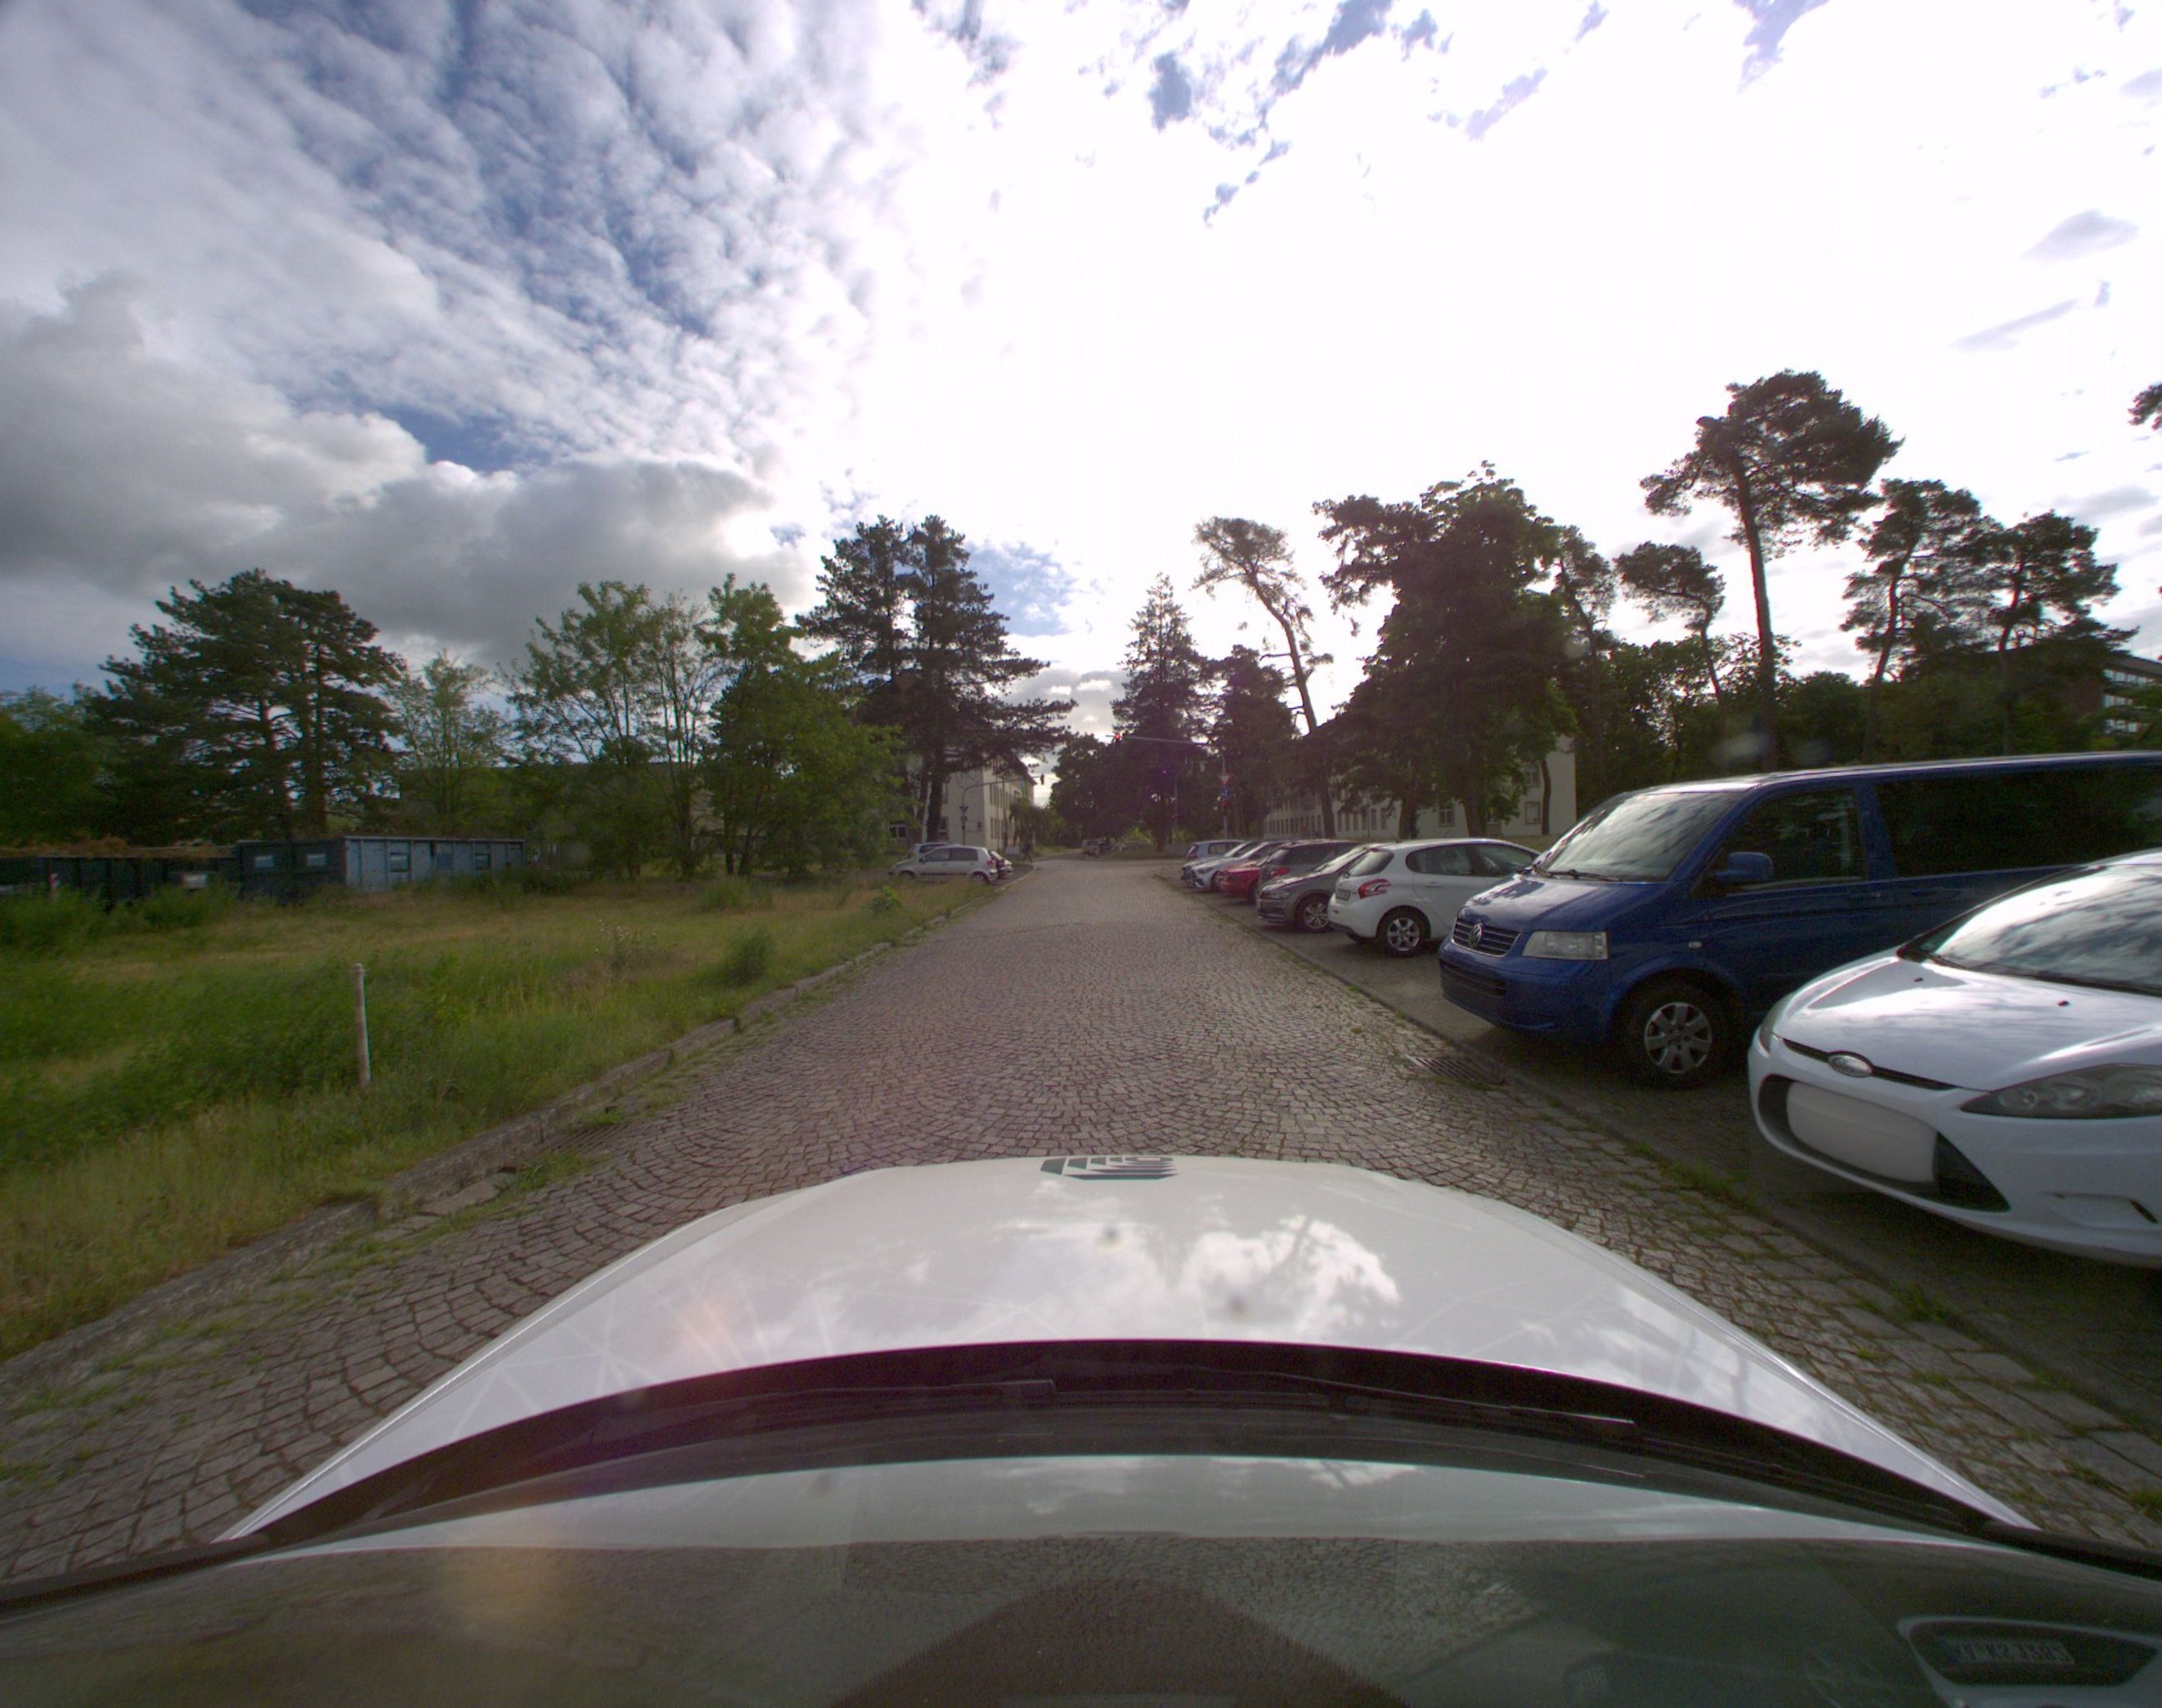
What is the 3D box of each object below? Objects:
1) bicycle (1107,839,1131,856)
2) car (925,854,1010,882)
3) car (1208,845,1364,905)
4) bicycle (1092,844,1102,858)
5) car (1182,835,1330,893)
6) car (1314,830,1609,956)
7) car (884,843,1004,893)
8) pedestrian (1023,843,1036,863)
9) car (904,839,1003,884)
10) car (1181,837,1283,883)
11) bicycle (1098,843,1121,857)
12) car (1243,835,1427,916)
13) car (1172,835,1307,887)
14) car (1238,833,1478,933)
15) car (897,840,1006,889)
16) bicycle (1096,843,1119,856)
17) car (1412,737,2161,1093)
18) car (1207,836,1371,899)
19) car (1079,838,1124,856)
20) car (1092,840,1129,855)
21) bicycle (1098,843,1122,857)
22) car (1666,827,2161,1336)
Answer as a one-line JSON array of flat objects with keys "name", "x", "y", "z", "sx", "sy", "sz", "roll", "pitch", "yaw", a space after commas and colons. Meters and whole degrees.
[{"name": "bicycle", "x": 3.728, "y": -0.604, "z": 79.911, "sx": 2.158, "sy": 1.615, "sz": 0.811, "roll": -1, "pitch": 1, "yaw": -6}, {"name": "car", "x": -5.028, "y": 0.612, "z": 36.474, "sx": 3.666, "sy": 1.093, "sz": 1.643, "roll": -2, "pitch": 1, "yaw": -6}, {"name": "car", "x": 4.918, "y": 0.473, "z": 19.772, "sx": 3.287, "sy": 1.267, "sz": 1.661, "roll": -2, "pitch": 1, "yaw": -6}, {"name": "bicycle", "x": 1.492, "y": -0.300, "z": 74.856, "sx": 0.807, "sy": 1.268, "sz": 1.974, "roll": -1, "pitch": 1, "yaw": 2}, {"name": "car", "x": 5.163, "y": 0.259, "z": 24.250, "sx": 3.981, "sy": 1.543, "sz": 1.661, "roll": -2, "pitch": 1, "yaw": -6}, {"name": "car", "x": 5.089, "y": 0.476, "z": 11.187, "sx": 3.283, "sy": 1.504, "sz": 1.663, "roll": -2, "pitch": 1, "yaw": -2}, {"name": "car", "x": -4.766, "y": 0.466, "z": 28.828, "sx": 3.981, "sy": 1.552, "sz": 1.996, "roll": -2, "pitch": 1, "yaw": -6}, {"name": "pedestrian", "x": -3.973, "y": -0.090, "z": 63.164, "sx": 0.895, "sy": 1.498, "sz": 0.904, "roll": -1, "pitch": 1, "yaw": 1}, {"name": "car", "x": -5.306, "y": 0.283, "z": 34.421, "sx": 3.983, "sy": 1.749, "sz": 1.923, "roll": -1, "pitch": 1, "yaw": -7}, {"name": "car", "x": 5.479, "y": 0.192, "z": 29.636, "sx": 3.384, "sy": 1.543, "sz": 1.388, "roll": -2, "pitch": 1, "yaw": -6}, {"name": "bicycle", "x": 2.794, "y": -0.421, "z": 79.202, "sx": 2.158, "sy": 1.268, "sz": 0.811, "roll": -1, "pitch": 1, "yaw": -6}, {"name": "car", "x": 5.260, "y": 0.397, "z": 17.056, "sx": 3.293, "sy": 1.504, "sz": 1.658, "roll": -2, "pitch": 1, "yaw": -10}, {"name": "car", "x": 5.218, "y": 0.218, "z": 27.066, "sx": 4.116, "sy": 1.543, "sz": 1.661, "roll": -2, "pitch": 1, "yaw": -6}, {"name": "car", "x": 4.752, "y": 0.449, "z": 14.178, "sx": 3.598, "sy": 1.506, "sz": 1.658, "roll": -2, "pitch": 1, "yaw": -10}, {"name": "car", "x": -4.895, "y": 0.373, "z": 31.315, "sx": 3.981, "sy": 1.705, "sz": 1.996, "roll": -2, "pitch": 1, "yaw": -6}, {"name": "bicycle", "x": 2.574, "y": -0.422, "z": 80.416, "sx": 2.158, "sy": 1.268, "sz": 0.811, "roll": -1, "pitch": 1, "yaw": -6}, {"name": "car", "x": 5.093, "y": 0.336, "z": 5.793, "sx": 4.768, "sy": 2.039, "sz": 1.738, "roll": -2, "pitch": 1, "yaw": -1}, {"name": "car", "x": 5.565, "y": 0.327, "z": 22.018, "sx": 3.981, "sy": 1.543, "sz": 1.661, "roll": -1, "pitch": 1, "yaw": -6}, {"name": "car", "x": 2.448, "y": -0.868, "z": 96.437, "sx": 5.051, "sy": 2.013, "sz": 1.993, "roll": -1, "pitch": 1, "yaw": -10}, {"name": "car", "x": 3.370, "y": -0.732, "z": 93.160, "sx": 3.981, "sy": 1.644, "sz": 1.996, "roll": -1, "pitch": 1, "yaw": -6}, {"name": "bicycle", "x": 2.790, "y": -0.419, "z": 78.615, "sx": 2.158, "sy": 1.268, "sz": 0.811, "roll": -1, "pitch": 1, "yaw": -6}, {"name": "car", "x": 4.836, "y": 0.625, "z": 3.340, "sx": 3.713, "sy": 1.424, "sz": 1.653, "roll": -3, "pitch": 1, "yaw": -2}]
